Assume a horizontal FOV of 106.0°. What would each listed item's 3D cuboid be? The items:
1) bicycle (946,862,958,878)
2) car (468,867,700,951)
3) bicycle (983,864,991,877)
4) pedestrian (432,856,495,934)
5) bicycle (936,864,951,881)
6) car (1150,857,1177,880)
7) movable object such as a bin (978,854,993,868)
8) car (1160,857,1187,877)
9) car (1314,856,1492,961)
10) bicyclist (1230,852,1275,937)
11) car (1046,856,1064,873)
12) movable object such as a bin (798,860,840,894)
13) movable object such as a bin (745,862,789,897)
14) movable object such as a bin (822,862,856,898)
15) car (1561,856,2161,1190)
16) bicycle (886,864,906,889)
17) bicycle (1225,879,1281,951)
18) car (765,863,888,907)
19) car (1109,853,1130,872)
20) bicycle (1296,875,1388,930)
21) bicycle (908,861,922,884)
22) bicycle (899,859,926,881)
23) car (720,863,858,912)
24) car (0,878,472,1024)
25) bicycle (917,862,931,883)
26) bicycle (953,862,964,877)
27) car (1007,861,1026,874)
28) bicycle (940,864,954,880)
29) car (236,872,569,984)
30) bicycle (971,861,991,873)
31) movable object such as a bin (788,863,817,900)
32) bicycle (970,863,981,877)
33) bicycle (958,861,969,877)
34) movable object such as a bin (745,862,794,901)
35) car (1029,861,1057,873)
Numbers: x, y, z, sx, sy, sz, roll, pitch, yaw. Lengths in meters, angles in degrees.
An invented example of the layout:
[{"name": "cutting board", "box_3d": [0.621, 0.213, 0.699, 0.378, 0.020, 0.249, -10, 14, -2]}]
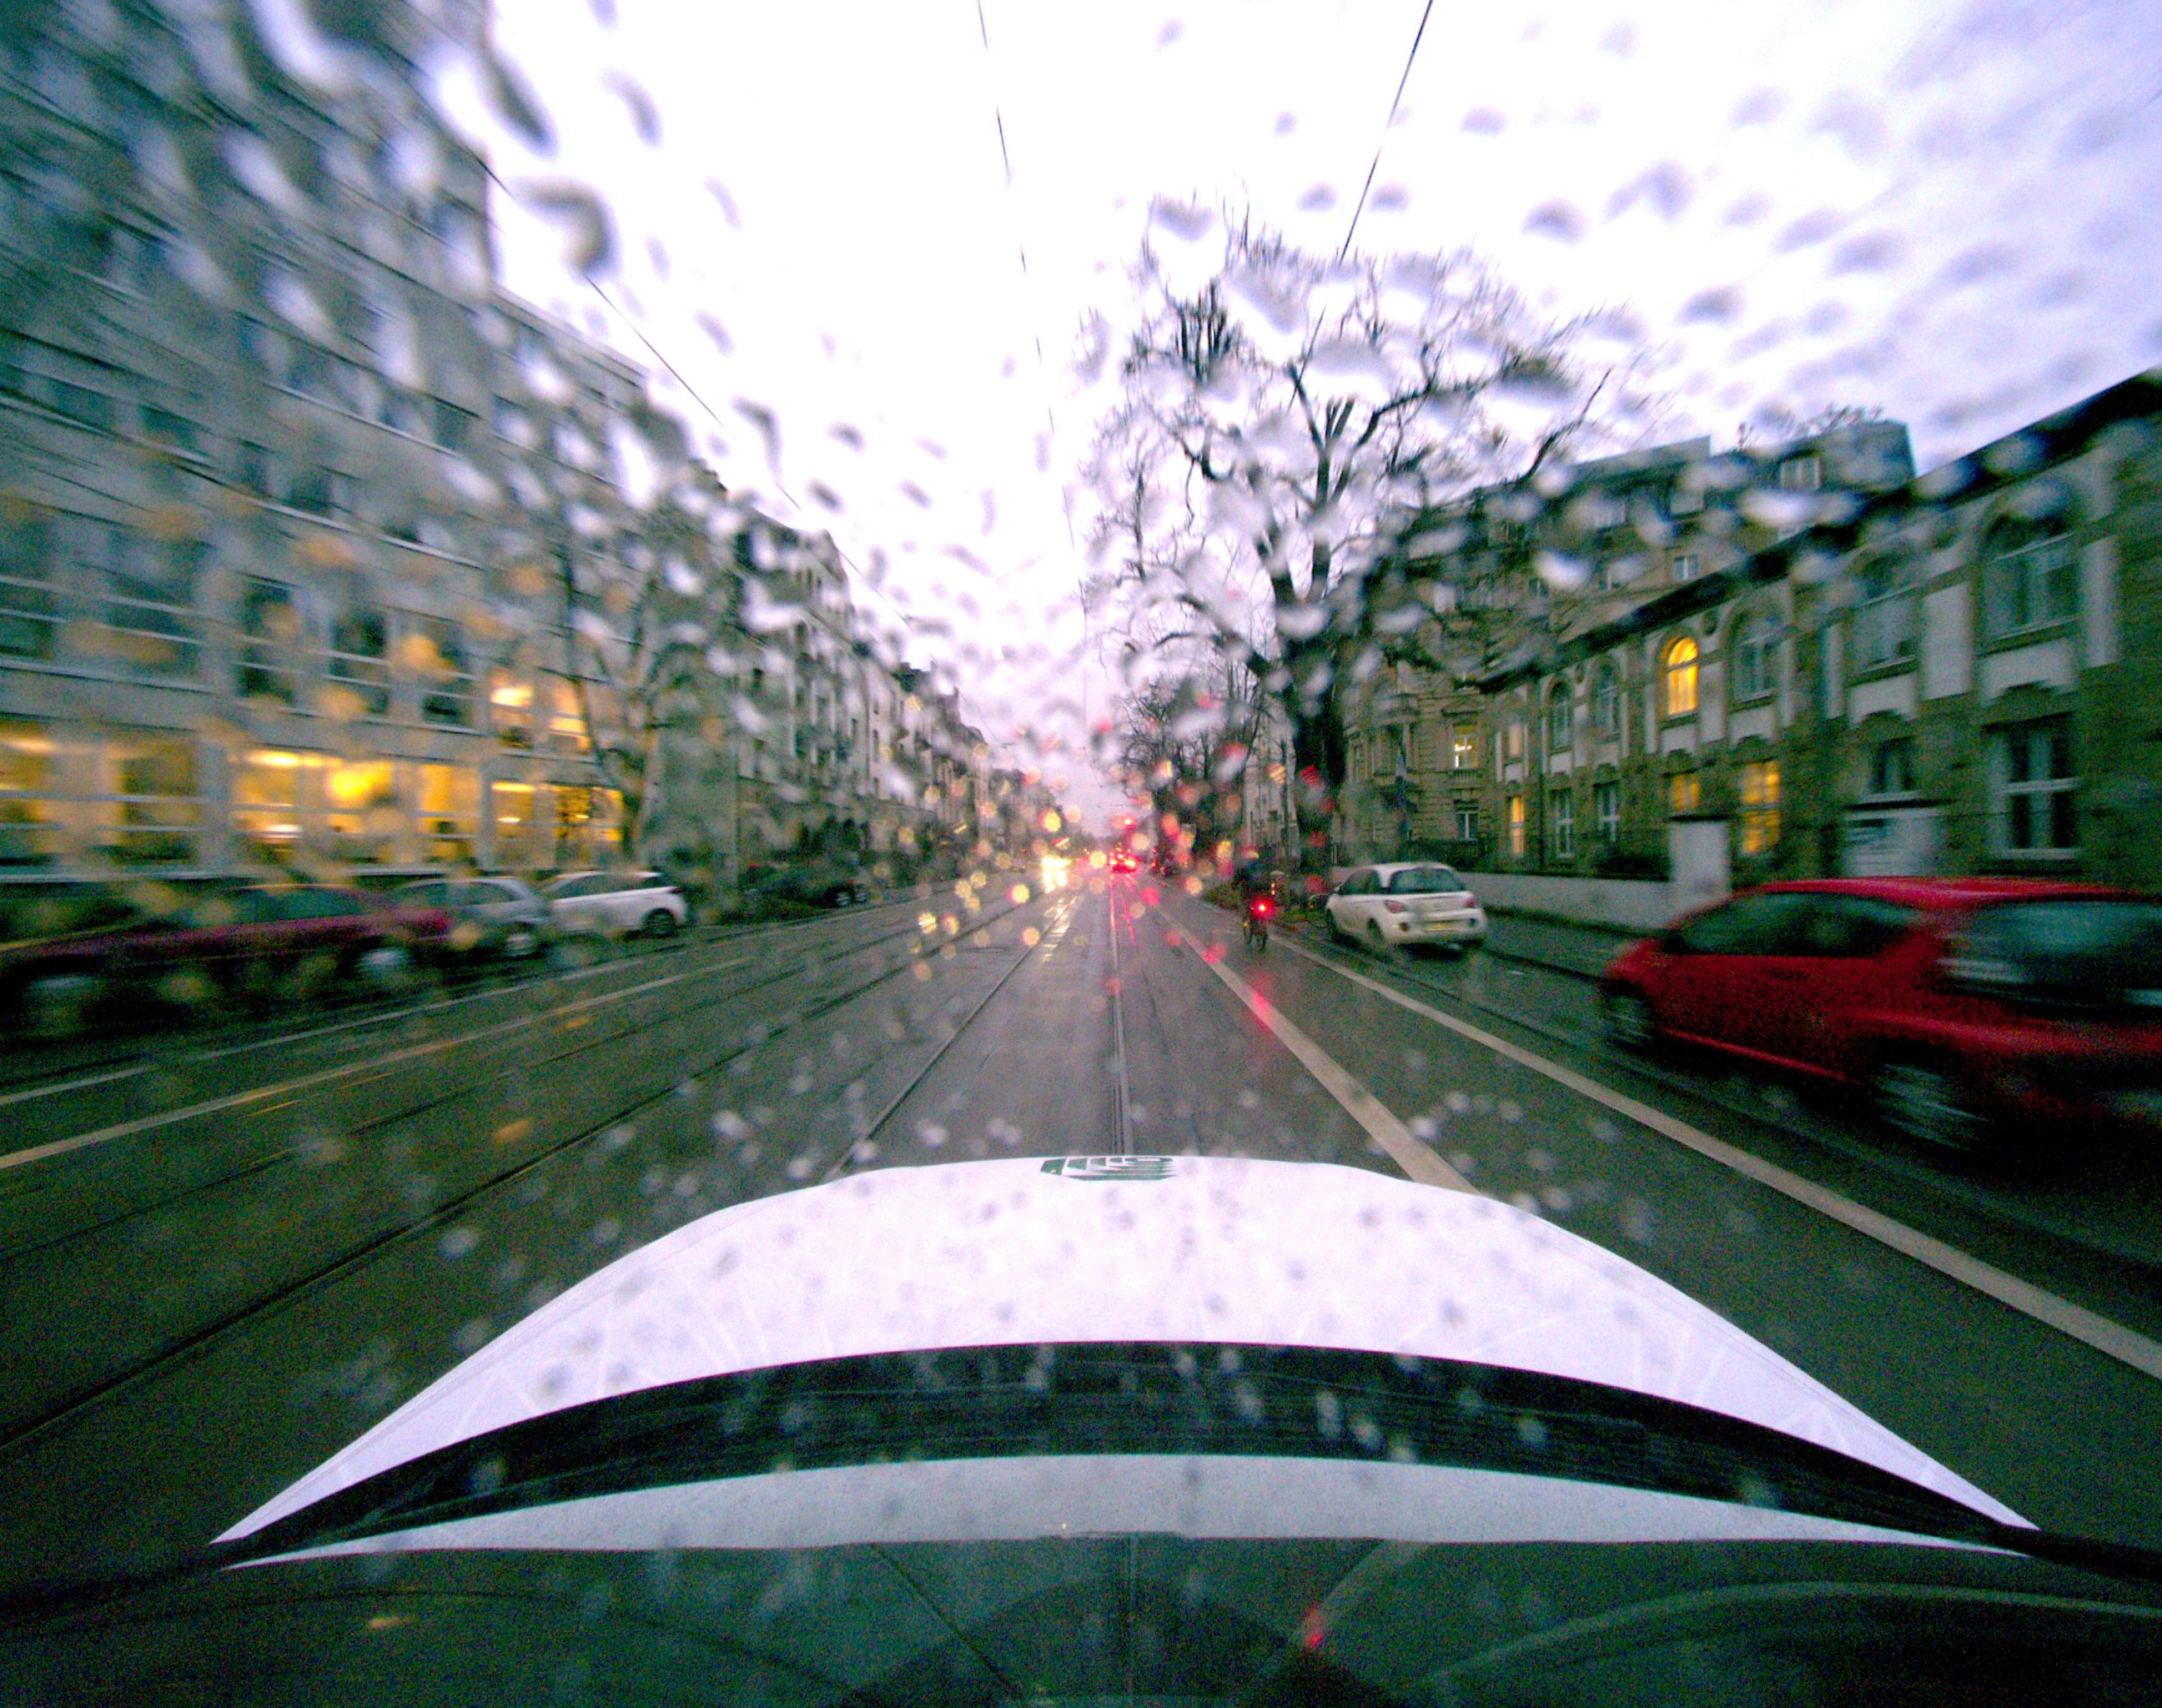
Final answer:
[{"name": "bicycle", "box_3d": [-8.851, 1.110, 55.921, 0.691, 1.031, 1.592, -1, -2, -7]}, {"name": "car", "box_3d": [-10.344, 1.063, 17.117, 3.875, 1.423, 1.715, -2, 1, -44]}, {"name": "bicycle", "box_3d": [-8.239, 1.427, 71.378, 0.613, 1.080, 1.809, -1, 0, -3]}, {"name": "pedestrian", "box_3d": [-13.840, 0.904, 18.278, 0.594, 1.677, 0.973, -1, 0, 2]}, {"name": "bicycle", "box_3d": [-8.834, 1.182, 52.312, 0.690, 1.031, 1.593, -2, 0, -2]}, {"name": "car", "box_3d": [7.472, 1.286, 74.426, 1.986, 1.900, 5.028, -1, 0, 1]}, {"name": "movable object such as a bin", "box_3d": [-10.793, 0.806, 92.321, 1.403, 1.530, 1.365, -1, 0, 1]}, {"name": "car", "box_3d": [7.083, 0.966, 62.938, 1.671, 1.460, 4.043, -1, 0, 1]}, {"name": "car", "box_3d": [5.405, 0.828, 14.190, 1.686, 1.519, 3.638, -1, 0, 1]}, {"name": "bicyclist", "box_3d": [3.017, 0.692, 14.384, 0.653, 1.446, 0.851, -1, 0, 5]}, {"name": "car", "box_3d": [-3.305, 1.332, 102.798, 2.039, 1.922, 5.100, -1, 0, 0]}, {"name": "movable object such as a bin", "box_3d": [-11.668, 1.030, 36.341, 1.256, 1.450, 1.329, -1, 0, 9]}, {"name": "movable object such as a bin", "box_3d": [-13.522, 1.086, 35.100, 1.256, 1.450, 1.329, -1, 0, 9]}, {"name": "movable object such as a bin", "box_3d": [-10.095, 1.063, 33.895, 1.267, 1.450, 1.104, -1, 0, -20]}, {"name": "car", "box_3d": [5.204, 0.800, 5.646, 1.638, 1.523, 3.571, 0, 0, -1]}, {"name": "bicycle", "box_3d": [-9.216, 1.111, 40.627, 0.690, 1.212, 1.595, -1, 0, -3]}, {"name": "bicycle", "box_3d": [3.034, 1.040, 14.529, 0.704, 1.096, 2.032, -1, 0, 5]}, {"name": "car", "box_3d": [-9.532, 1.118, 30.638, 4.022, 1.428, 1.826, -2, 1, -41]}, {"name": "car", "box_3d": [3.838, 0.862, 82.262, 1.986, 1.897, 4.759, 0, -1, 1]}, {"name": "bicycle", "box_3d": [5.450, 0.999, 17.073, 1.706, 1.071, 0.663, -1, 0, 1]}, {"name": "bicycle", "box_3d": [-9.167, 1.027, 45.065, 0.629, 1.212, 1.592, -1, 0, -7]}, {"name": "bicycle", "box_3d": [-10.662, 1.020, 51.498, 1.582, 1.264, 0.490, -2, -5, 5]}, {"name": "car", "box_3d": [-9.813, 1.070, 27.535, 4.023, 1.470, 1.809, -1, 0, -44]}, {"name": "car", "box_3d": [-10.701, 1.089, 10.443, 1.728, 1.352, 4.374, -3, 0, 43]}, {"name": "bicycle", "box_3d": [-9.194, 1.080, 47.786, 0.691, 1.212, 1.592, -1, 0, -7]}, {"name": "bicycle", "box_3d": [-8.810, 1.132, 58.550, 0.691, 1.031, 1.592, -1, -1, -7]}, {"name": "car", "box_3d": [-7.733, 1.607, 97.801, 1.826, 1.447, 4.002, -1, 0, 2]}, {"name": "bicycle", "box_3d": [-8.886, 1.168, 54.078, 0.690, 1.031, 1.595, -2, 0, -3]}, {"name": "car", "box_3d": [-10.891, 1.108, 13.500, 4.015, 1.463, 1.718, -2, -1, -33]}, {"name": "bicycle", "box_3d": [-9.403, 1.233, 76.619, 1.802, 1.080, 0.615, -1, 0, -5]}, {"name": "movable object such as a bin", "box_3d": [-11.439, 1.103, 33.462, 1.092, 1.450, 1.104, -1, 0, -20]}, {"name": "bicycle", "box_3d": [-8.494, 1.282, 65.494, 0.623, 1.017, 1.805, -2, 0, 0]}, {"name": "bicycle", "box_3d": [-8.708, 1.087, 60.442, 0.484, 1.099, 1.931, -2, 0, 1]}, {"name": "movable object such as a bin", "box_3d": [-12.228, 1.082, 32.002, 1.256, 1.450, 1.329, -1, 0, 9]}, {"name": "car", "box_3d": [-5.598, 1.910, 121.684, 3.970, 1.728, 1.741, -1, 0, 3]}]
